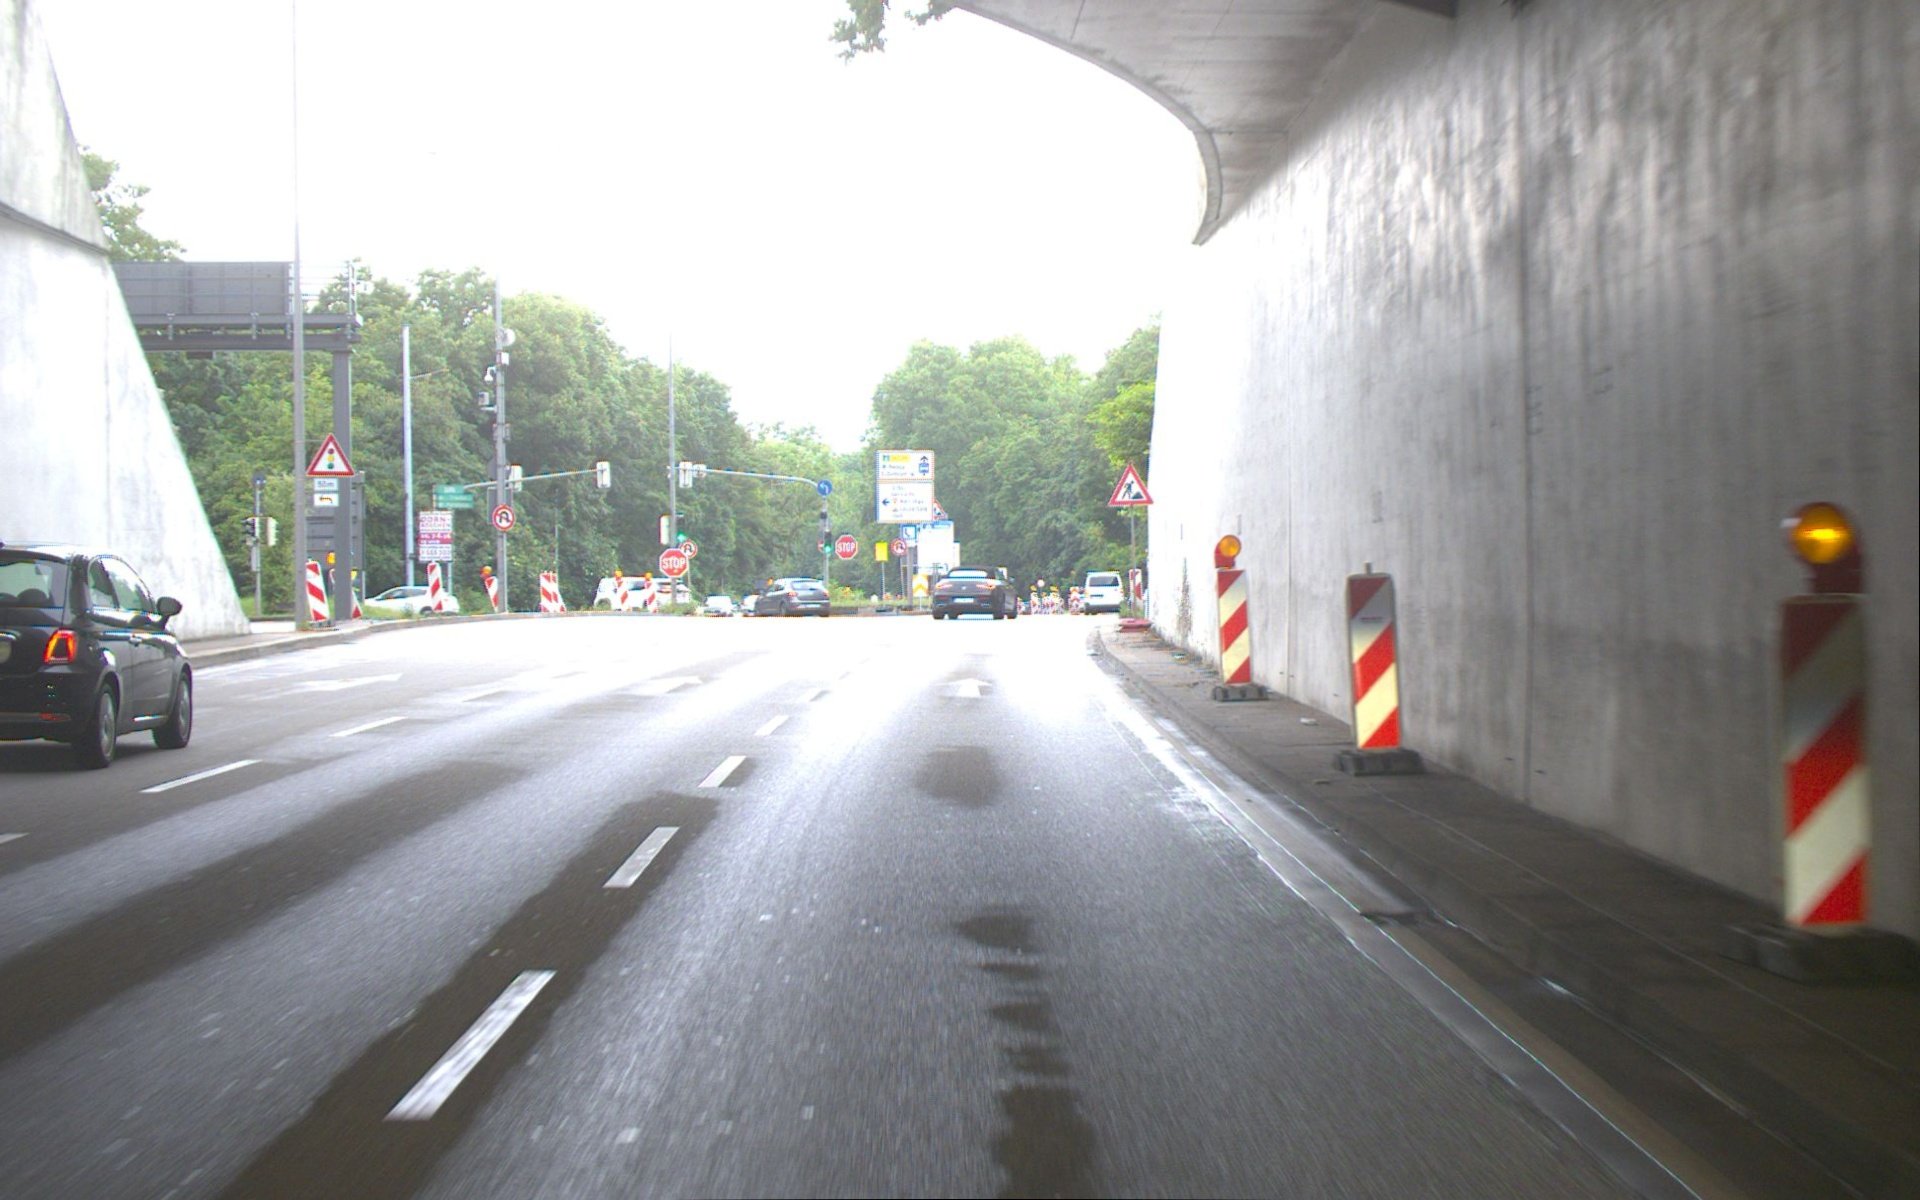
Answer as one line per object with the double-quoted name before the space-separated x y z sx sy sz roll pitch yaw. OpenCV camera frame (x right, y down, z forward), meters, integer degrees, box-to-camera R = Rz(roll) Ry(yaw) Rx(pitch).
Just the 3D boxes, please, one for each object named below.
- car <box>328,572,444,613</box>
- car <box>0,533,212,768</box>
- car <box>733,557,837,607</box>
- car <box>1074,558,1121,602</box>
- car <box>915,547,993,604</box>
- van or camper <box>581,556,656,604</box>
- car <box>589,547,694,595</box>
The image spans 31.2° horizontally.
"car" -22.284 -0.301 133.478 3.991 1.509 1.896 -1 2 23
"car" -6.306 0.299 23.562 1.612 1.449 3.573 -1 2 -1
"car" -6.113 -0.641 119.552 1.891 1.678 4.000 -1 1 -32
"car" 6.421 -0.921 161.150 1.993 2.007 4.000 0 0 -1
"car" -0.168 -0.617 90.633 1.993 1.443 4.314 -1 0 0
"van or camper" -14.657 -0.846 147.857 2.129 2.007 5.313 -1 0 7
"car" -11.786 -1.084 127.132 1.892 1.678 3.999 -3 2 -40
